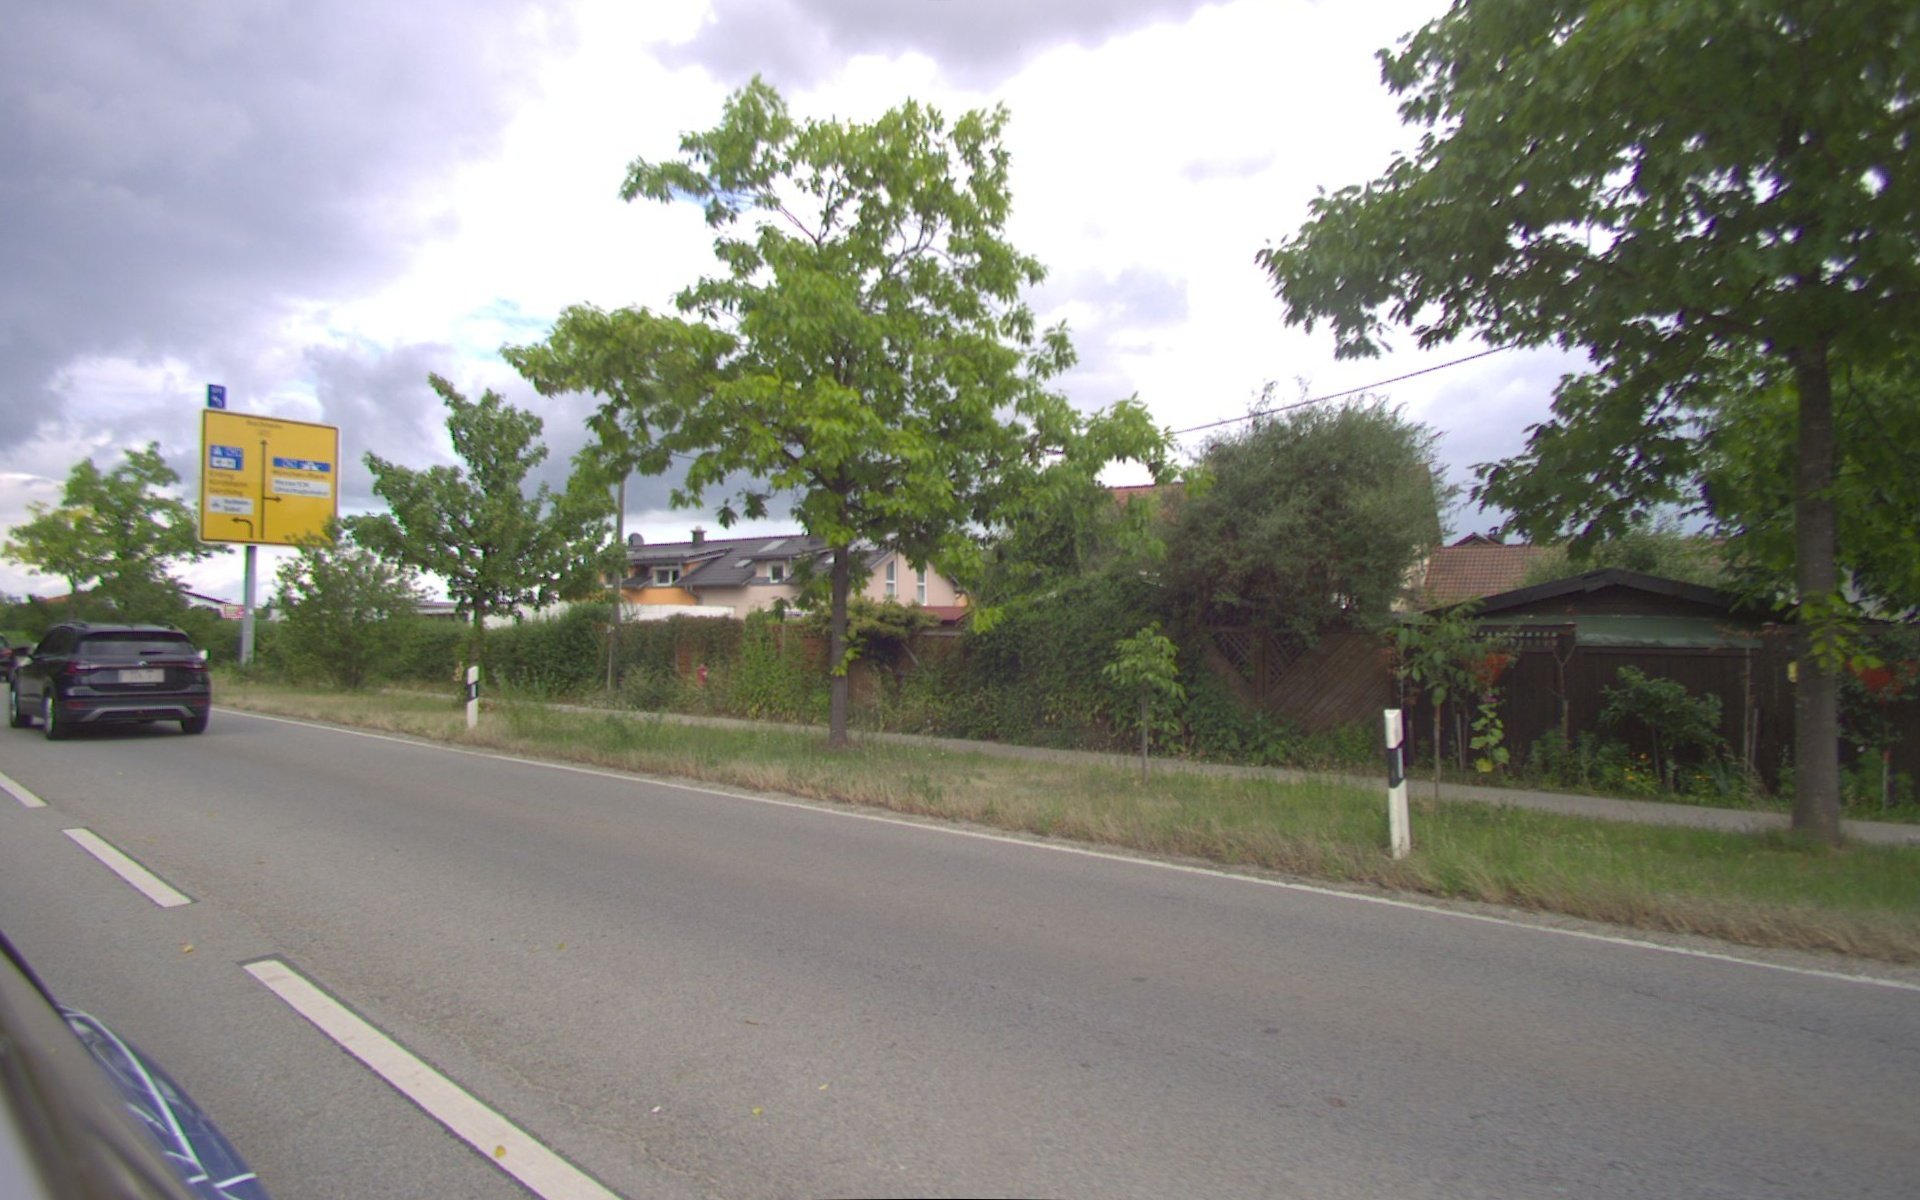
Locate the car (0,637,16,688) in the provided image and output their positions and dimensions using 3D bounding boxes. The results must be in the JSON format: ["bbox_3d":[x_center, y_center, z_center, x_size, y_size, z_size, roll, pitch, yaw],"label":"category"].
[{"bbox_3d":[-28.429,1.741,28.912,4.010,1.422,1.659,-2,-5,41],"label":"car"}]

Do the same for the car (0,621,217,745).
[{"bbox_3d":[-12.424,1.124,14.601,4.090,1.546,1.716,-2,-4,39],"label":"car"}]
